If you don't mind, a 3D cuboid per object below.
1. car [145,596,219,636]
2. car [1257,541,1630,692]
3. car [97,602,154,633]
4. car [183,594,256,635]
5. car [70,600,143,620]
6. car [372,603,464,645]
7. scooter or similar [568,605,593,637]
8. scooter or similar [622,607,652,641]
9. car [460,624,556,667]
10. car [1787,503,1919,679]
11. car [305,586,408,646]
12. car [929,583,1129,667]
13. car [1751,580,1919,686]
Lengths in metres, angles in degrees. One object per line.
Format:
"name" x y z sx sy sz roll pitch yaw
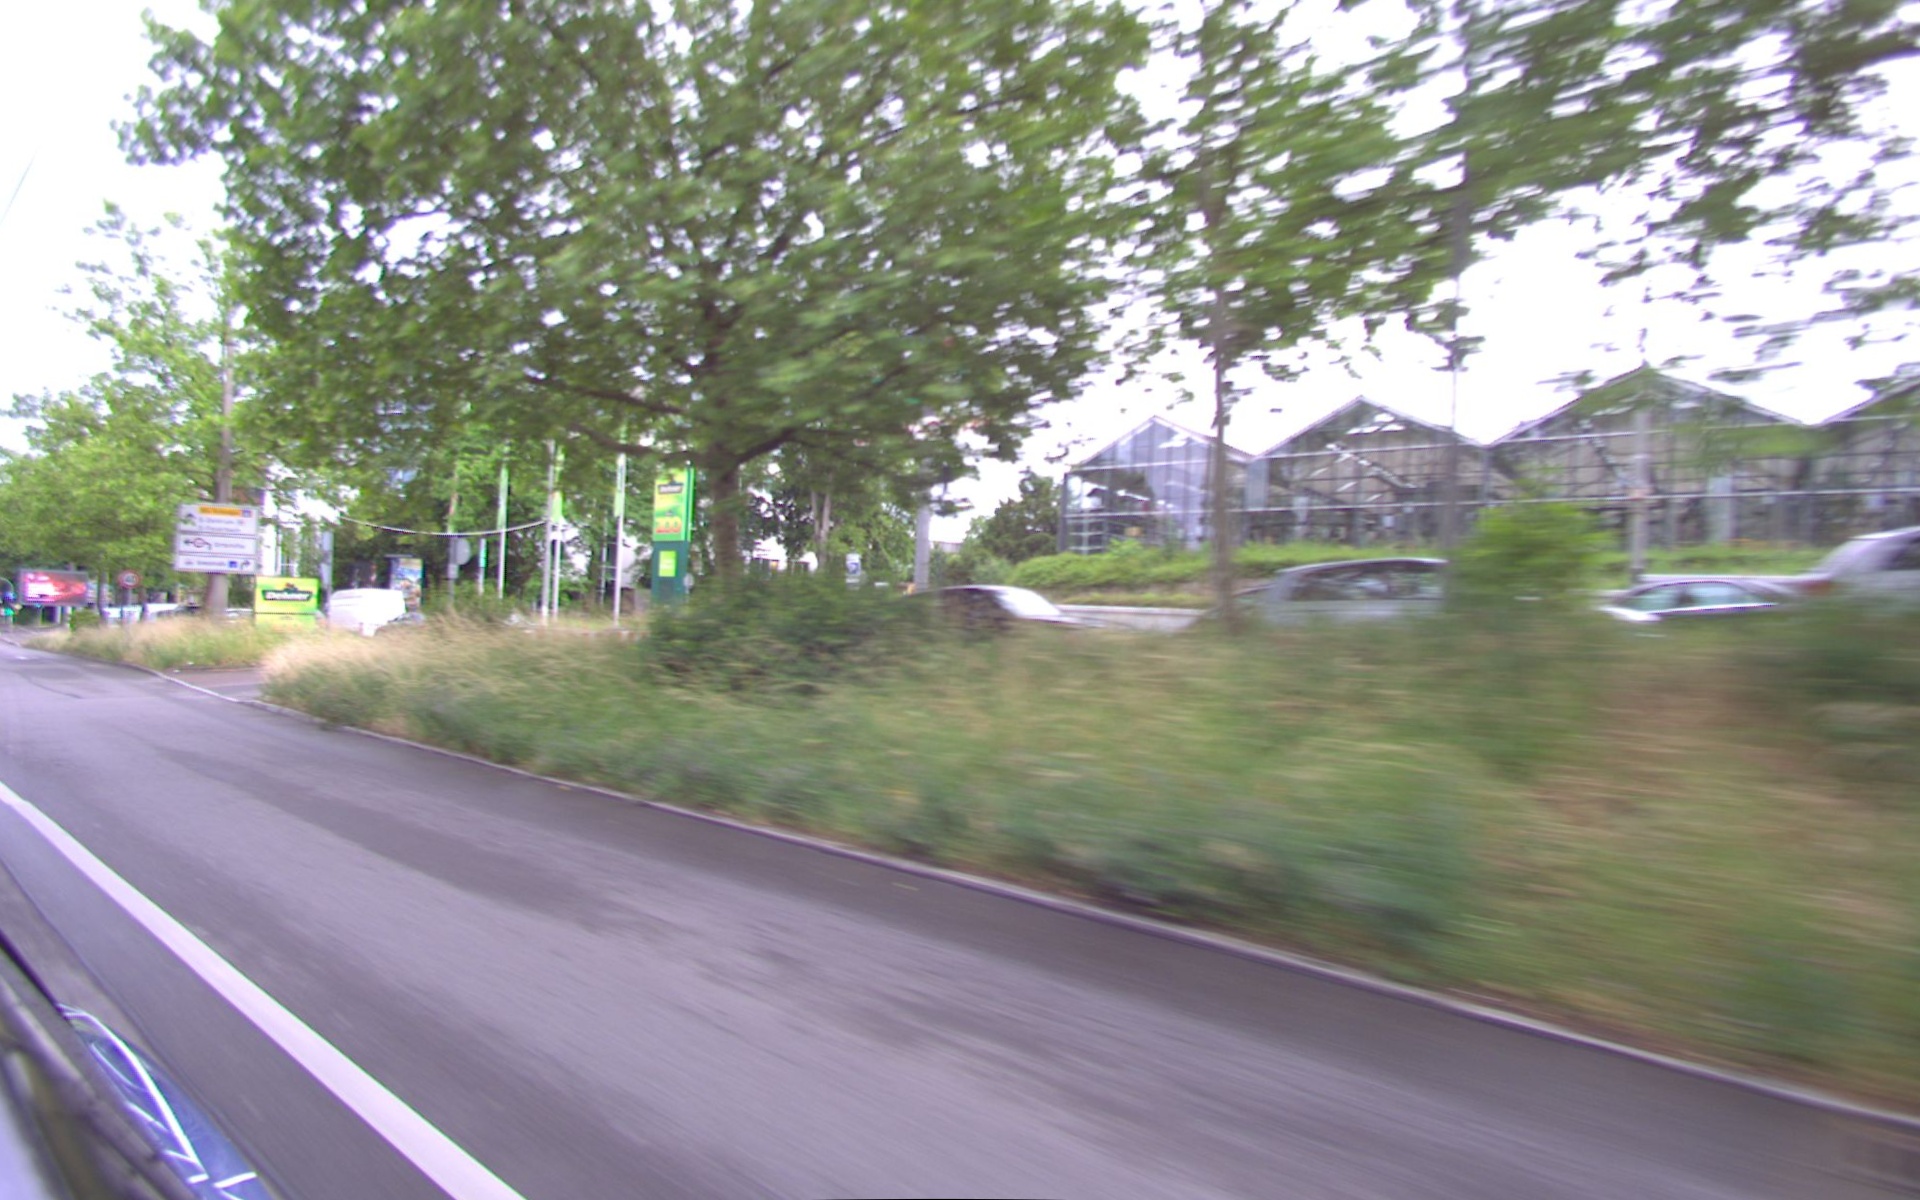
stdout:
"car" -31.879 0.636 41.457 3.643 1.463 1.636 1 -1 40
"car" 5.300 0.154 11.243 3.441 1.415 1.686 1 -1 39
"car" -44.683 0.965 54.179 4.441 1.489 1.630 -3 -4 41
"car" -27.973 0.546 38.187 3.705 1.405 1.346 1 -1 40
"car" -88.384 1.035 104.862 2.215 1.815 5.309 2 -1 34
"car" -21.762 0.956 40.588 3.664 1.479 1.826 2 -1 36
"scooter or similar" -14.976 0.825 39.933 0.920 1.164 0.395 1 5 31
"scooter or similar" -12.229 0.893 38.308 1.129 1.254 0.489 1 0 39
"car" -16.695 1.650 37.293 4.274 1.328 1.388 1 -1 38
"car" 8.956 -0.019 8.186 3.441 1.415 1.686 1 -1 39
"car" -27.070 0.786 45.304 5.646 2.462 1.944 -2 -4 37
"car" 1.016 0.352 15.384 2.750 1.139 1.337 1 -1 39
"car" 12.375 0.445 13.130 3.301 1.300 1.449 1 -1 39
